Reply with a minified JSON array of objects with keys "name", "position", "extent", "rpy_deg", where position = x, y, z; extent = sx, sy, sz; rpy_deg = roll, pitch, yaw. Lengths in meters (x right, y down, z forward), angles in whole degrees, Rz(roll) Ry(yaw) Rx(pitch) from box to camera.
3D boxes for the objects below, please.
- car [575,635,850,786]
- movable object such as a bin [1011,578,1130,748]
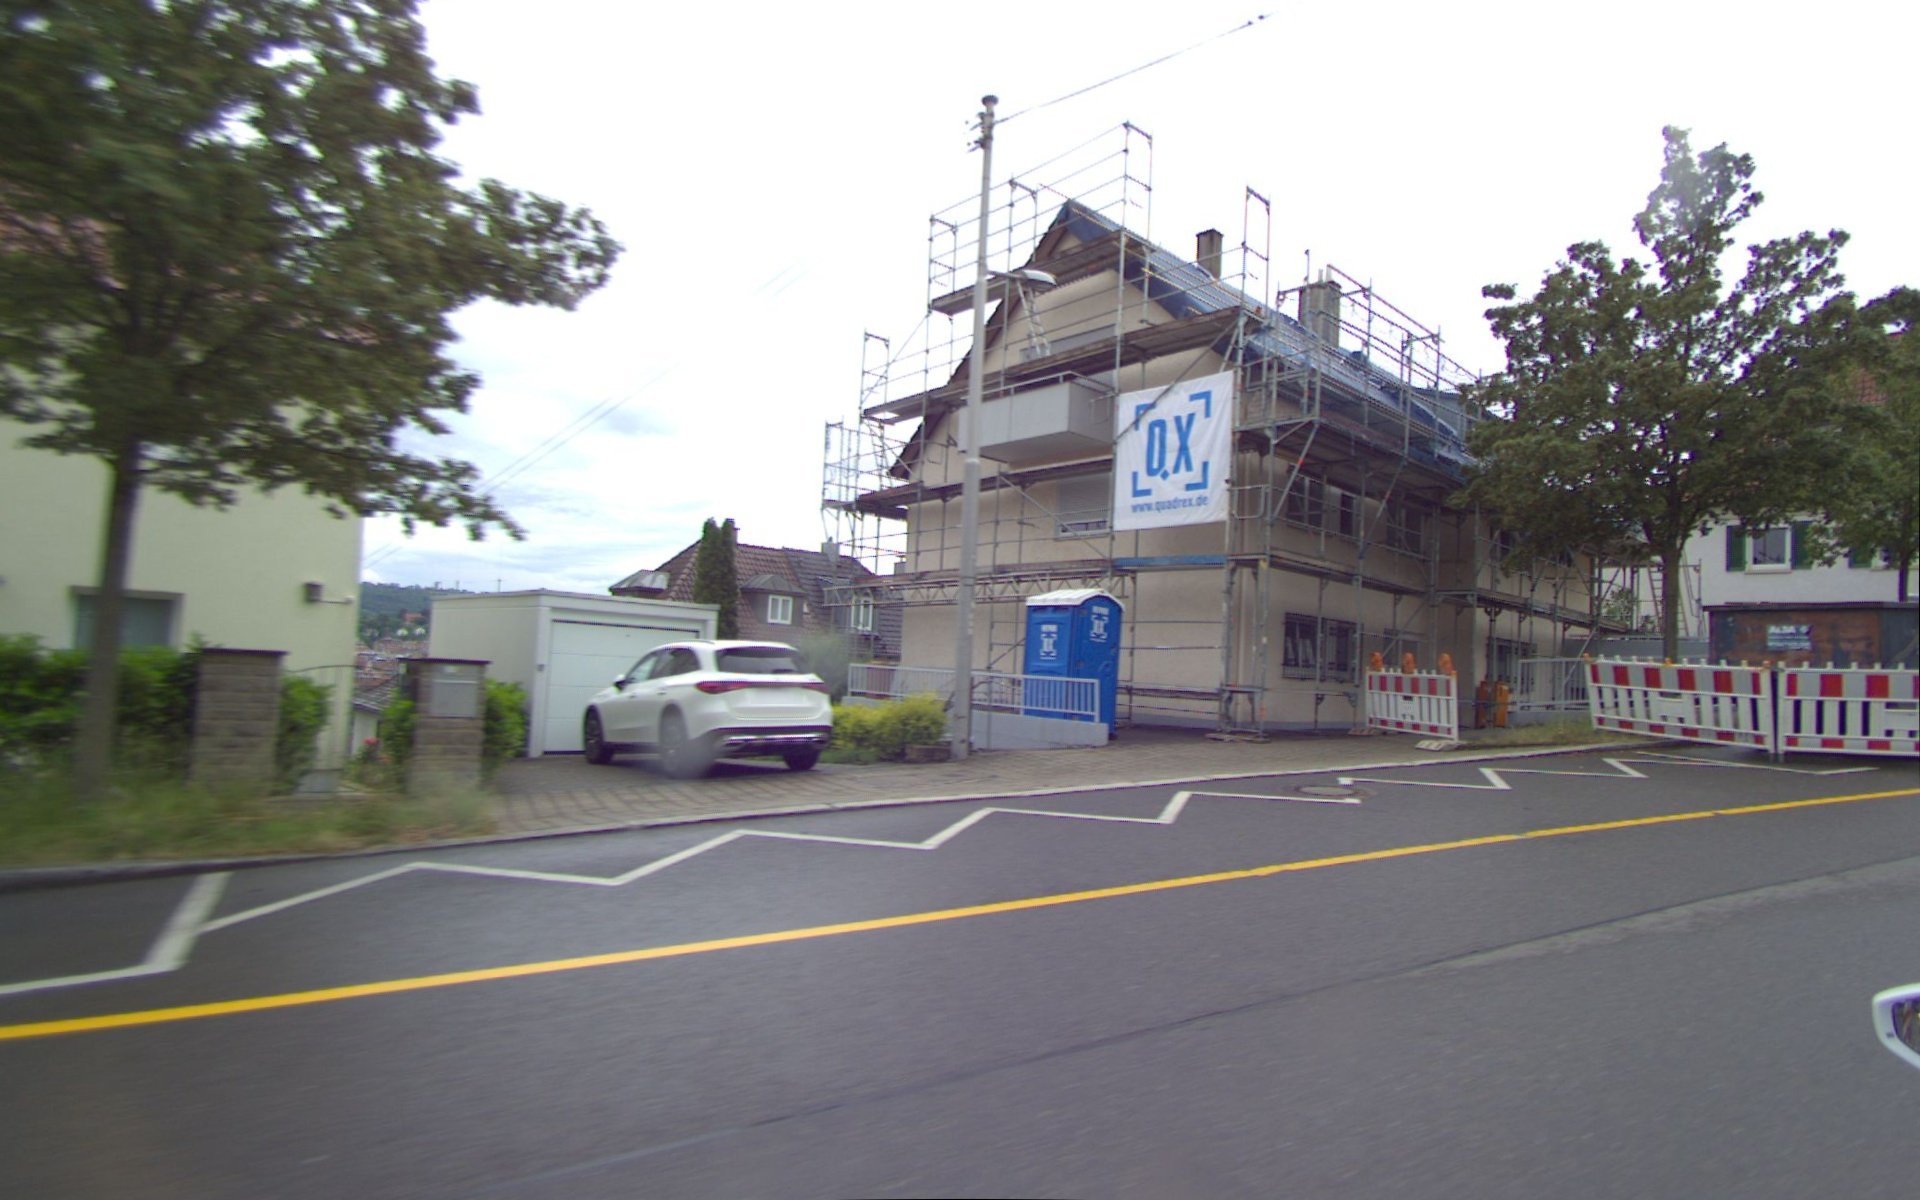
[{"name":"car","position":[-3.363,1.380,13.120],"extent":[1.934,1.624,4.165],"rpy_deg":[3,-6,-38]},{"name":"movable object such as a bin","position":[1.754,0.977,15.974],"extent":[1.373,2.538,1.303],"rpy_deg":[1,-2,-37]}]
